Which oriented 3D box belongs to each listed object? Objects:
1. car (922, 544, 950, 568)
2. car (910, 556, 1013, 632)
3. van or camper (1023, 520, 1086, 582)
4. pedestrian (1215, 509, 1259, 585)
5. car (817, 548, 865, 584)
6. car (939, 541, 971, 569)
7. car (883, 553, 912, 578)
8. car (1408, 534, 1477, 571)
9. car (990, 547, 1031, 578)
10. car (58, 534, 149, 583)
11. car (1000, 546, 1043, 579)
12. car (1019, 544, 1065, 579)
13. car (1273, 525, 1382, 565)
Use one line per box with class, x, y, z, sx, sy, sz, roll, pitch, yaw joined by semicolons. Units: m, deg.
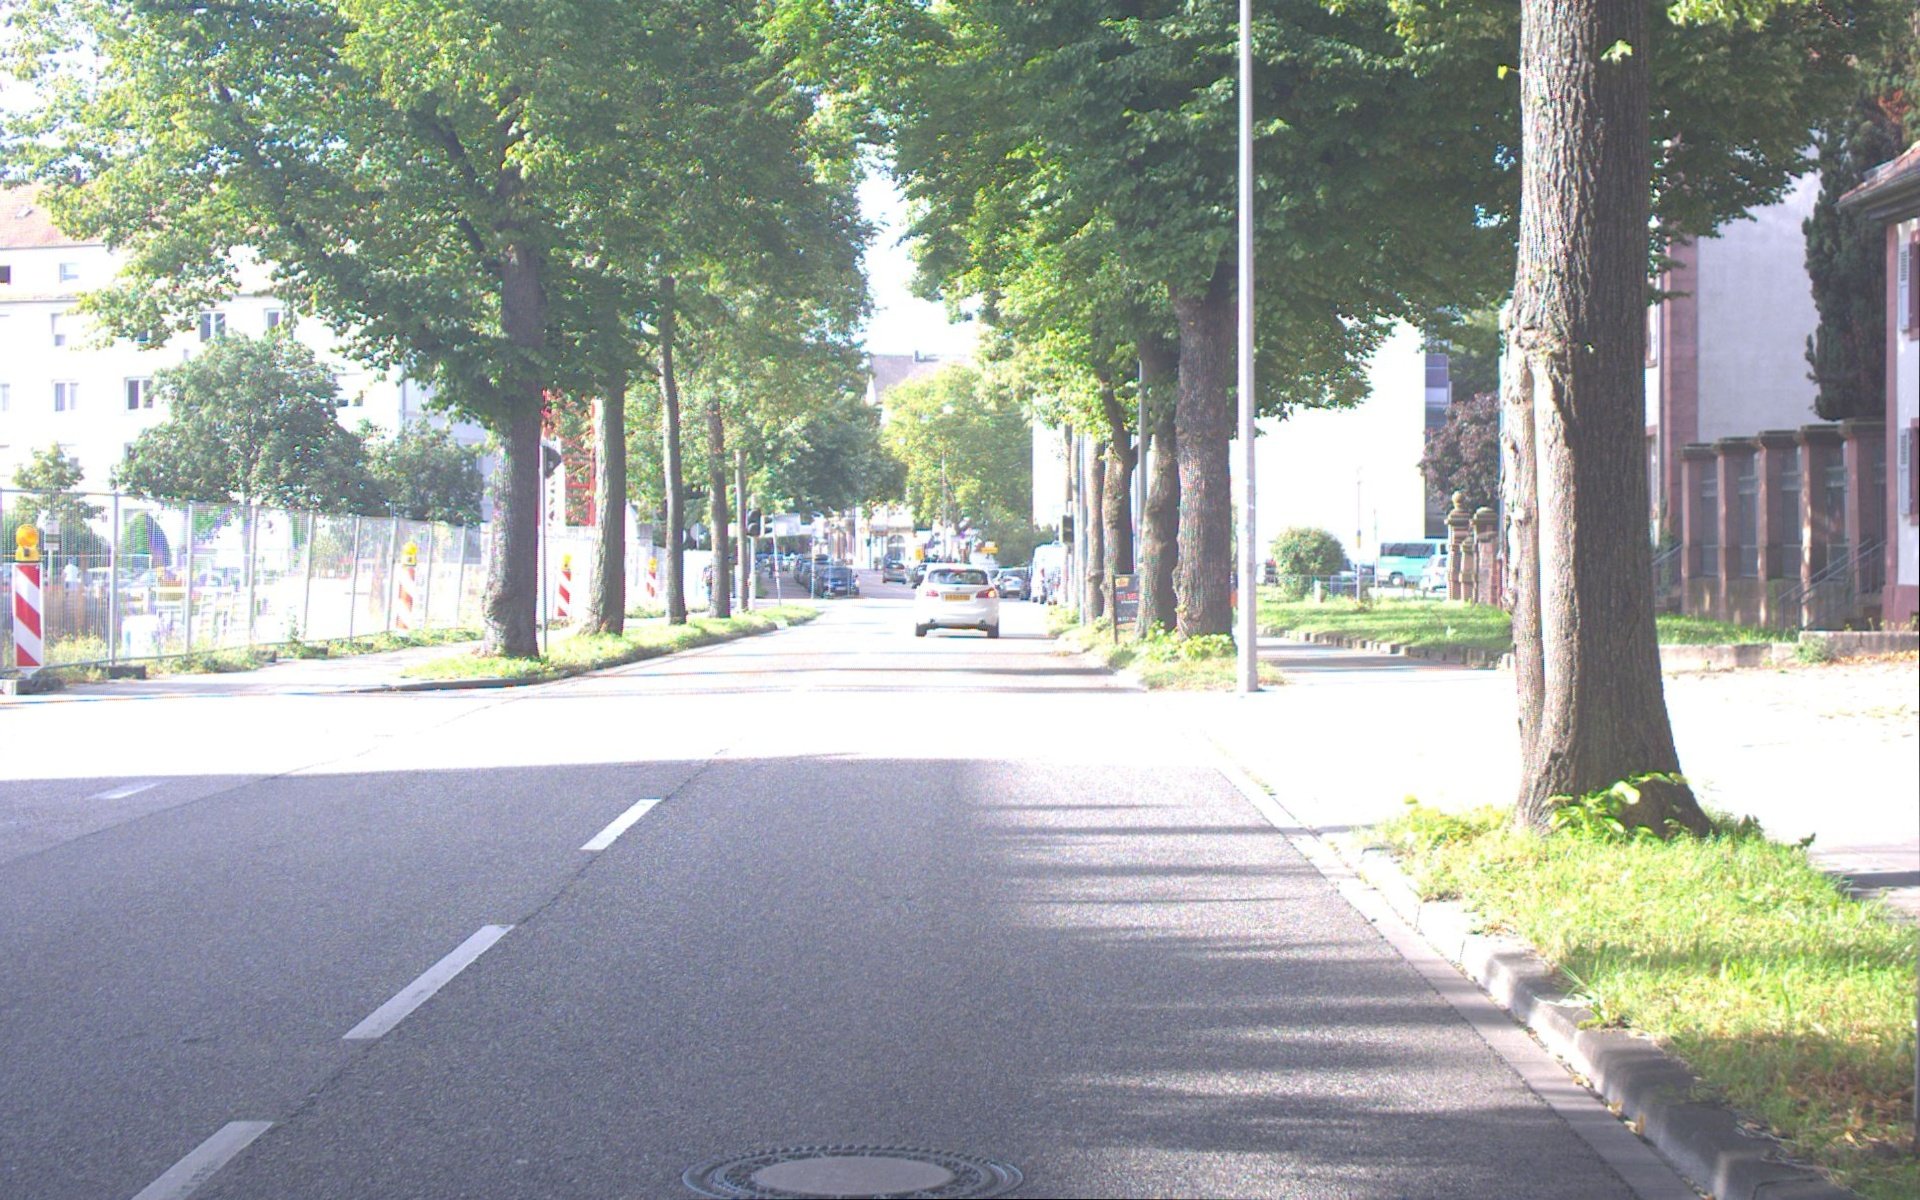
car;-1.819;-3.292;256.970;1.993;1.749;4.000;1;0;1
car;0.003;-0.143;74.265;1.993;1.549;4.274;1;0;-3
van or camper;4.042;-2.127;148.488;2.209;2.598;5.372;-1;1;-4
pedestrian;5.917;-1.125;73.519;0.814;1.585;0.769;-2;0;0
car;-5.720;-1.643;164.968;1.993;1.634;4.001;-1;1;-6
car;-0.312;-2.931;223.047;1.993;1.749;4.000;1;0;1
car;-4.546;-2.517;250.249;1.993;1.749;4.000;1;0;1
car;19.282;-1.917;137.497;1.993;1.437;4.001;-1;1;-3
car;2.604;-1.950;178.065;1.993;1.525;4.000;-1;1;-1
car;-35.932;-1.765;144.300;1.995;2.007;3.997;0;1;15
car;3.022;-1.851;169.995;1.993;1.568;4.000;-1;1;-1
car;3.802;-1.805;159.444;1.993;1.568;4.000;-1;1;-1
car;15.356;-2.318;143.741;4.449;1.616;2.000;-1;1;4
